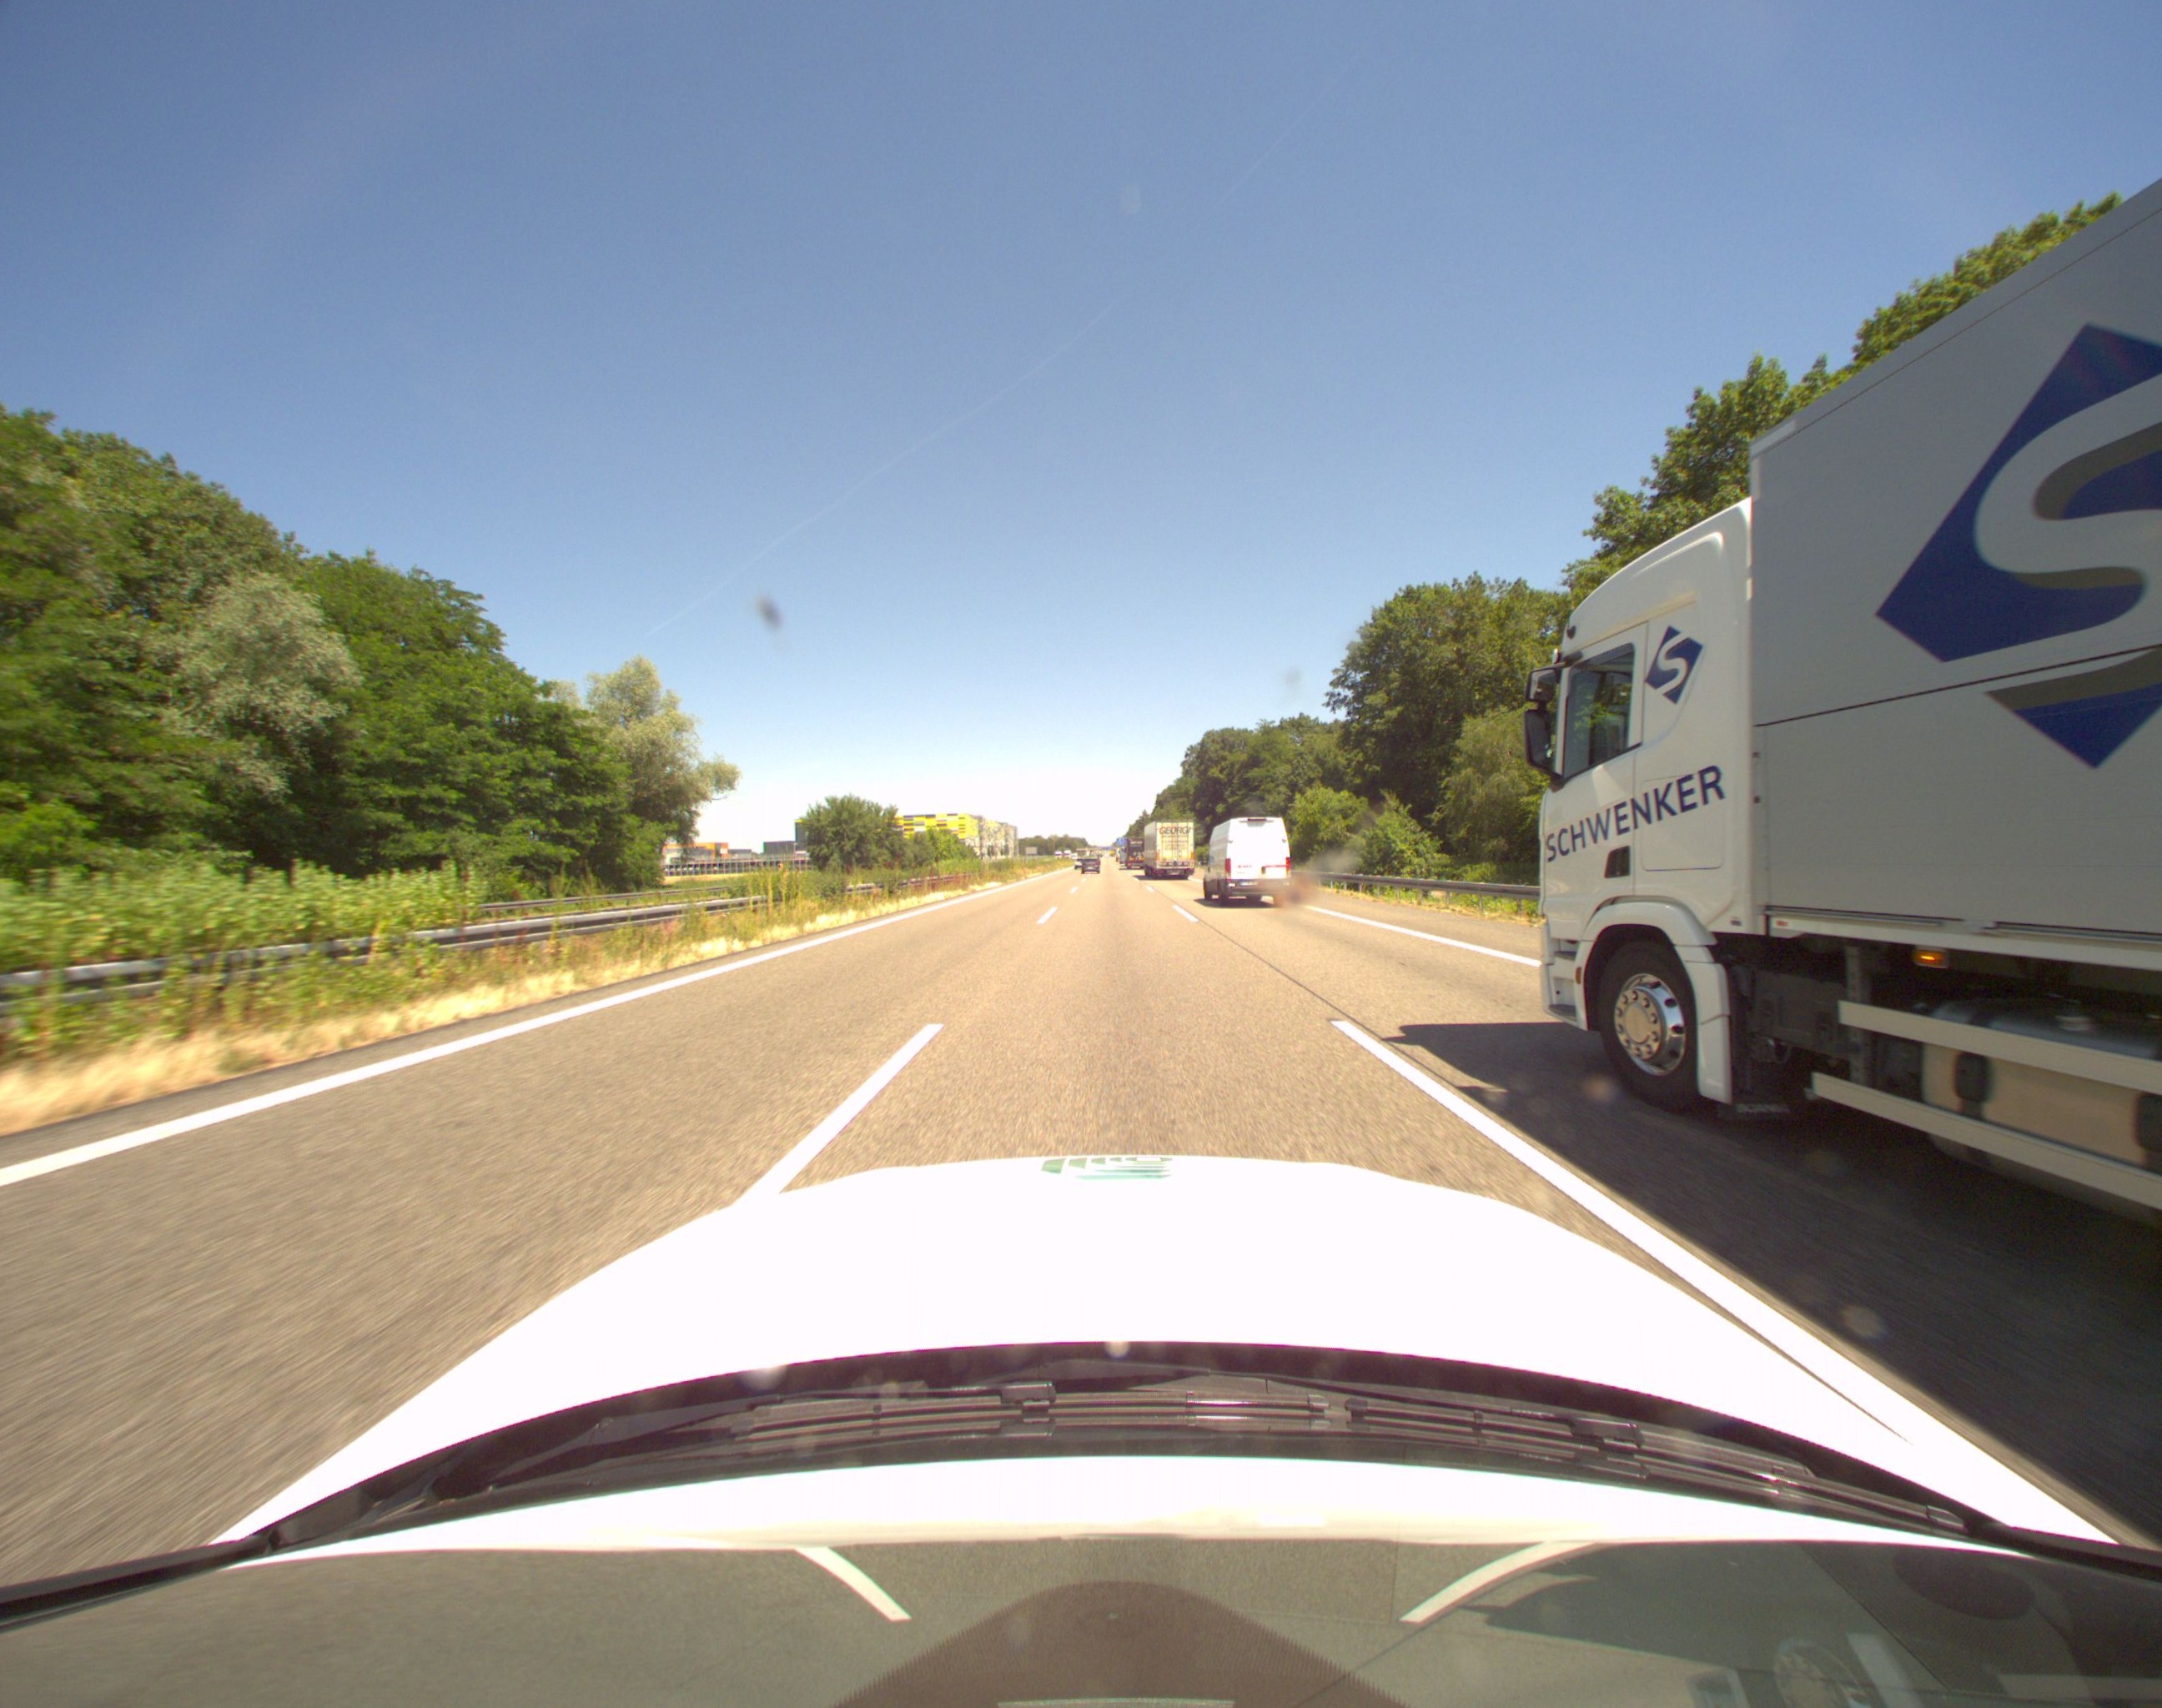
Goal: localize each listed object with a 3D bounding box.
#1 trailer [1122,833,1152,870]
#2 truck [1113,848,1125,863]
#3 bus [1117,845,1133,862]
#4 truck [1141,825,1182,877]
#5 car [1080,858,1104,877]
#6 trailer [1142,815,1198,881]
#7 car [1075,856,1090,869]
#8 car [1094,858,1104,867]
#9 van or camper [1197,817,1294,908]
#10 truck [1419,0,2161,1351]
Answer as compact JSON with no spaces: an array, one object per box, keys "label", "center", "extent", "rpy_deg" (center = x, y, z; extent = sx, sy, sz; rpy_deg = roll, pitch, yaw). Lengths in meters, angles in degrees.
[{"label":"trailer","center":[7.288,-0.307,107.805],"extent":[3.095,4.507,14.898],"rpy_deg":[-1,0,1]},{"label":"truck","center":[10.955,0.301,235.249],"extent":[3.409,4.126,9.570],"rpy_deg":[-2,0,3]},{"label":"bus","center":[9.483,-0.092,175.974],"extent":[3.052,3.326,8.274],"rpy_deg":[-2,0,0]},{"label":"truck","center":[6.558,-0.223,67.068],"extent":[2.991,4.125,5.254],"rpy_deg":[-1,-1,1]},{"label":"car","center":[1.122,1.316,81.463],"extent":[2.208,1.790,5.395],"rpy_deg":[-2,0,1]},{"label":"trailer","center":[6.374,-0.377,60.254],"extent":[2.982,4.289,13.422],"rpy_deg":[-1,0,2]},{"label":"car","center":[0.247,1.212,112.006],"extent":[1.987,1.728,4.131],"rpy_deg":[-1,0,1]},{"label":"car","center":[3.602,1.741,162.733],"extent":[1.934,1.706,4.001],"rpy_deg":[-2,0,1]},{"label":"van or camper","center":[5.251,0.256,26.893],"extent":[2.015,2.637,6.489],"rpy_deg":[-1,0,1]},{"label":"truck","center":[4.650,-0.562,4.504],"extent":[2.878,4.030,6.872],"rpy_deg":[-1,-1,2]}]
